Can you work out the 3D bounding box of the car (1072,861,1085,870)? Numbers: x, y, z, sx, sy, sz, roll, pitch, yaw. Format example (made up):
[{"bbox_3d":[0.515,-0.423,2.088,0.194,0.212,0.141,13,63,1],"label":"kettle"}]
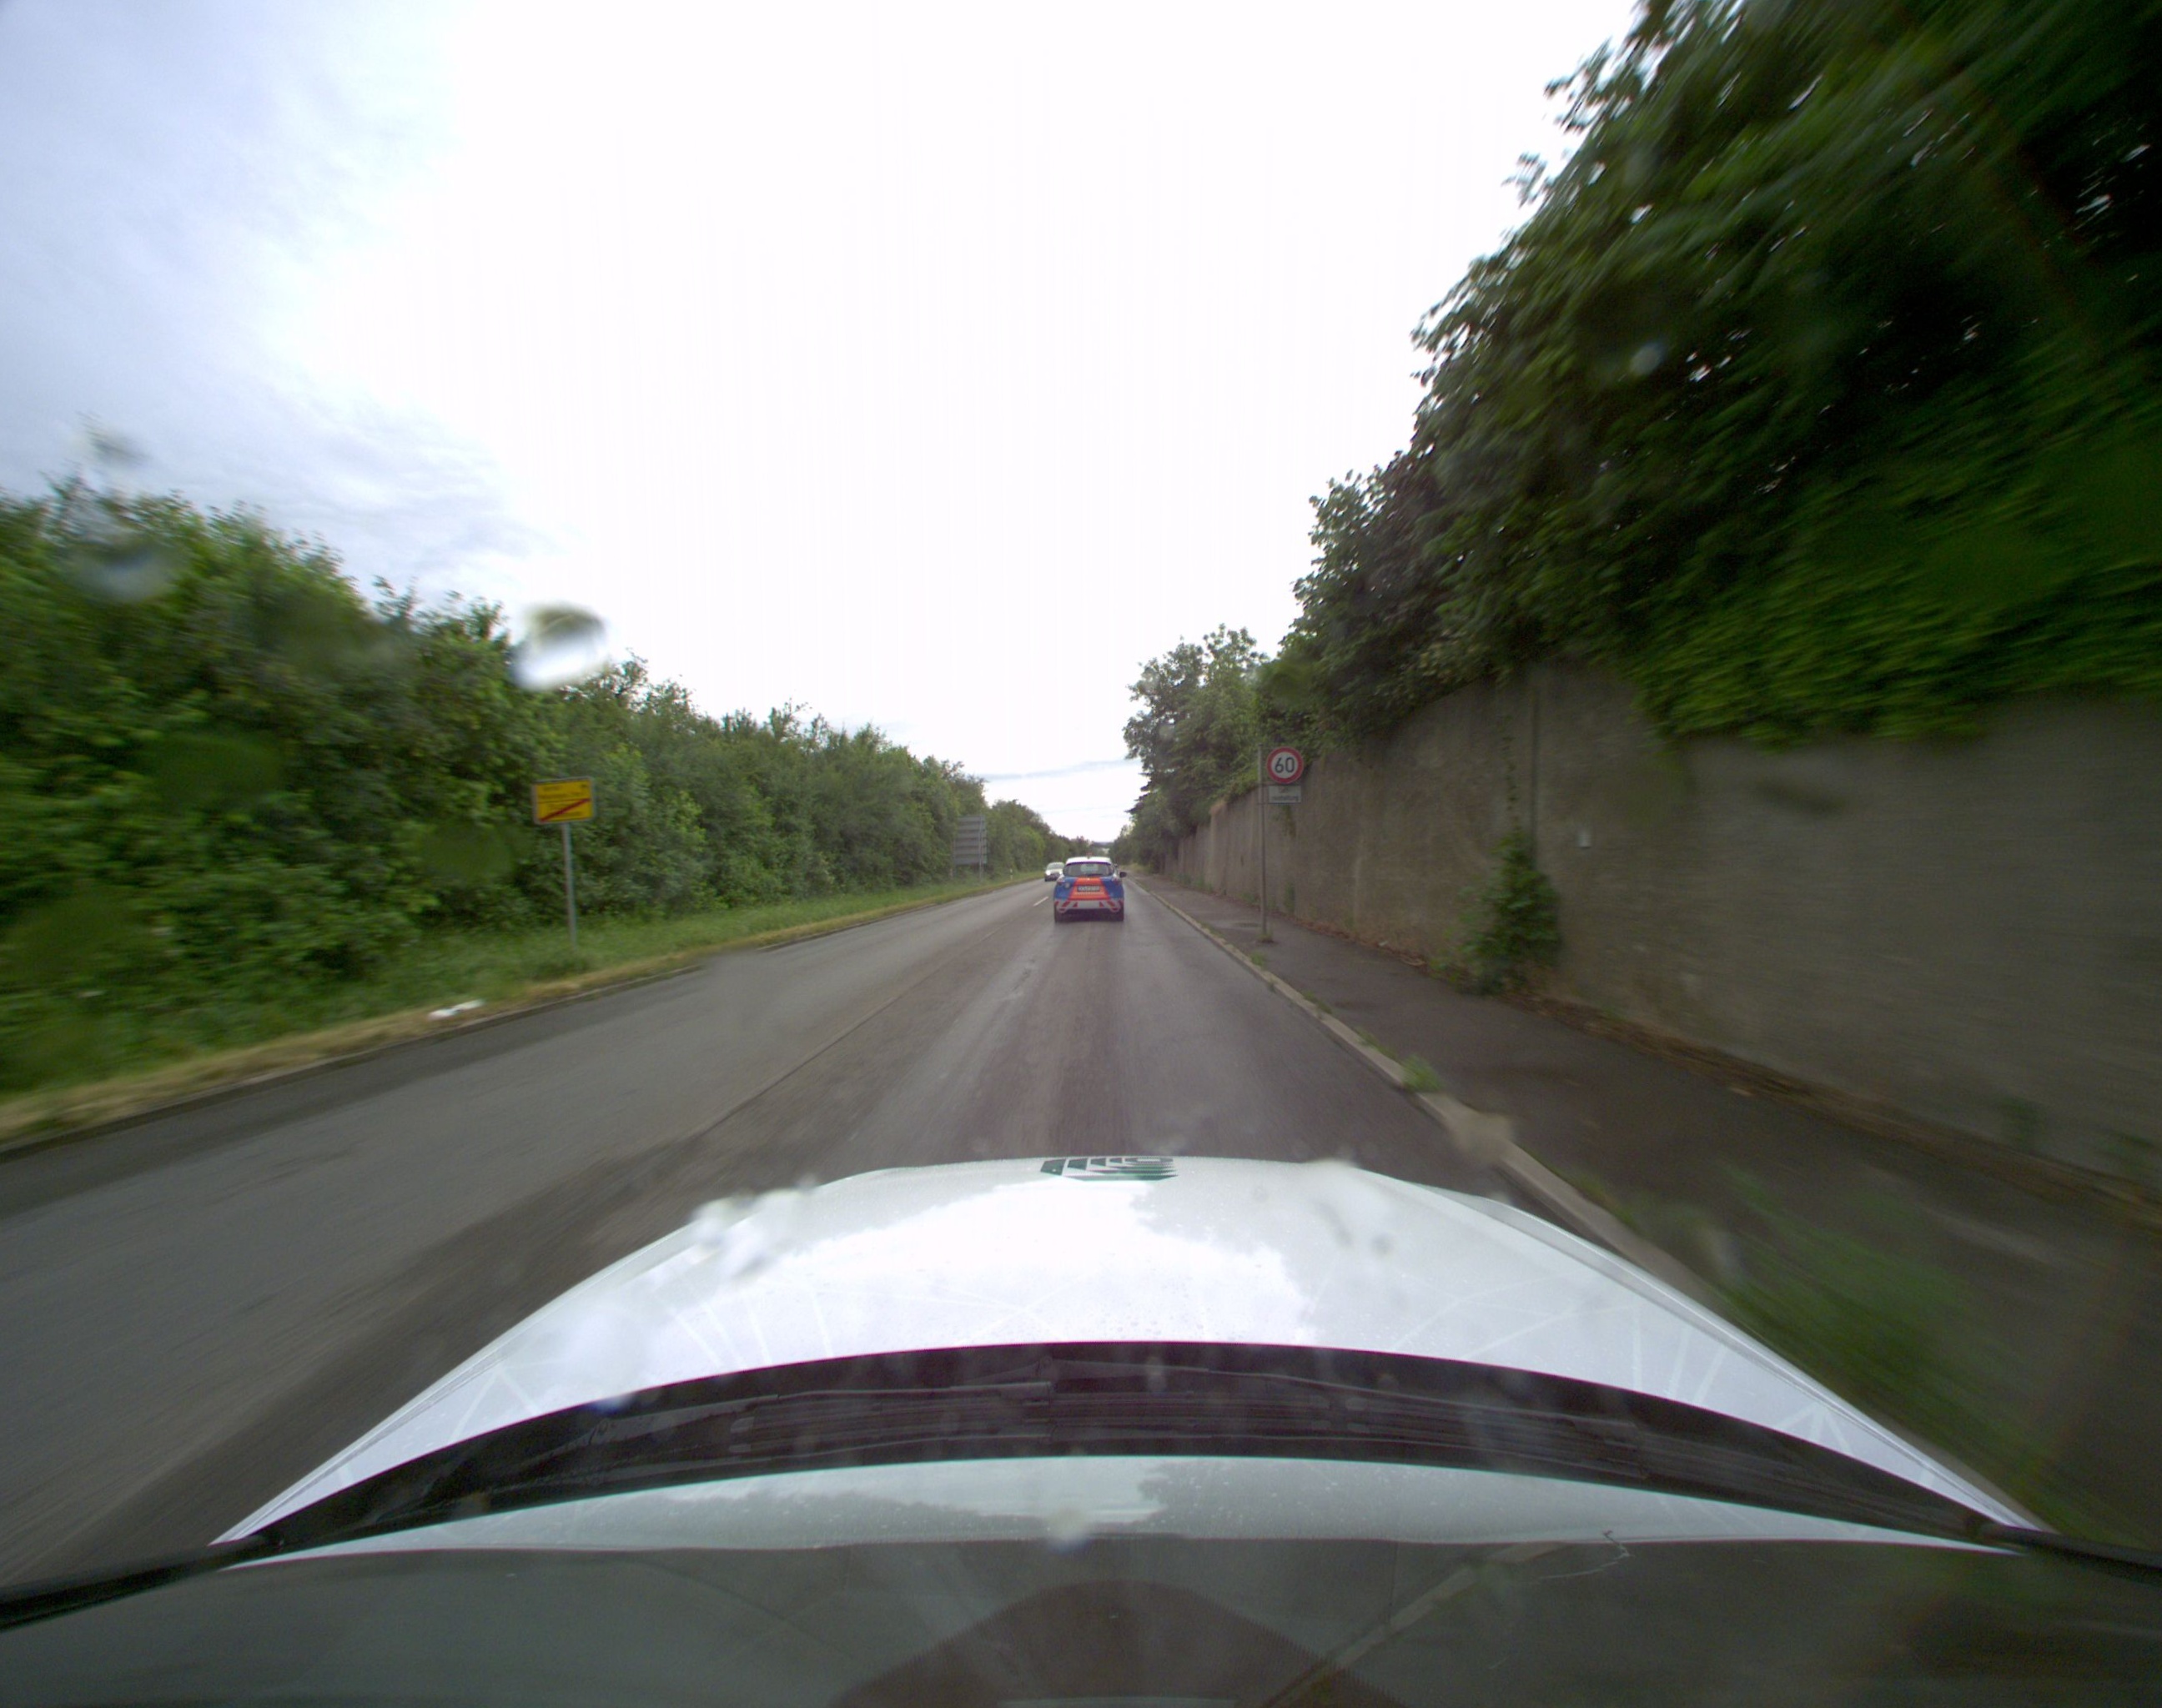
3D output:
[{"bbox_3d":[-0.419,1.778,125.790,1.884,1.354,4.382,-2,-1,1],"label":"car"}]

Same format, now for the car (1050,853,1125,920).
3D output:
[{"bbox_3d":[0.202,0.764,20.987,1.745,1.555,3.793,-1,0,1],"label":"car"}]

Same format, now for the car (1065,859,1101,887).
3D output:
[{"bbox_3d":[0.140,0.946,40.979,1.592,1.287,3.478,-2,-1,2],"label":"car"}]

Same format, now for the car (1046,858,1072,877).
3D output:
[{"bbox_3d":[-1.802,1.064,66.790,1.818,1.420,4.321,-3,0,2],"label":"car"}]

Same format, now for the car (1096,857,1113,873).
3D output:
[{"bbox_3d":[2.636,1.230,93.173,1.767,1.625,4.000,-4,0,0],"label":"car"}]
